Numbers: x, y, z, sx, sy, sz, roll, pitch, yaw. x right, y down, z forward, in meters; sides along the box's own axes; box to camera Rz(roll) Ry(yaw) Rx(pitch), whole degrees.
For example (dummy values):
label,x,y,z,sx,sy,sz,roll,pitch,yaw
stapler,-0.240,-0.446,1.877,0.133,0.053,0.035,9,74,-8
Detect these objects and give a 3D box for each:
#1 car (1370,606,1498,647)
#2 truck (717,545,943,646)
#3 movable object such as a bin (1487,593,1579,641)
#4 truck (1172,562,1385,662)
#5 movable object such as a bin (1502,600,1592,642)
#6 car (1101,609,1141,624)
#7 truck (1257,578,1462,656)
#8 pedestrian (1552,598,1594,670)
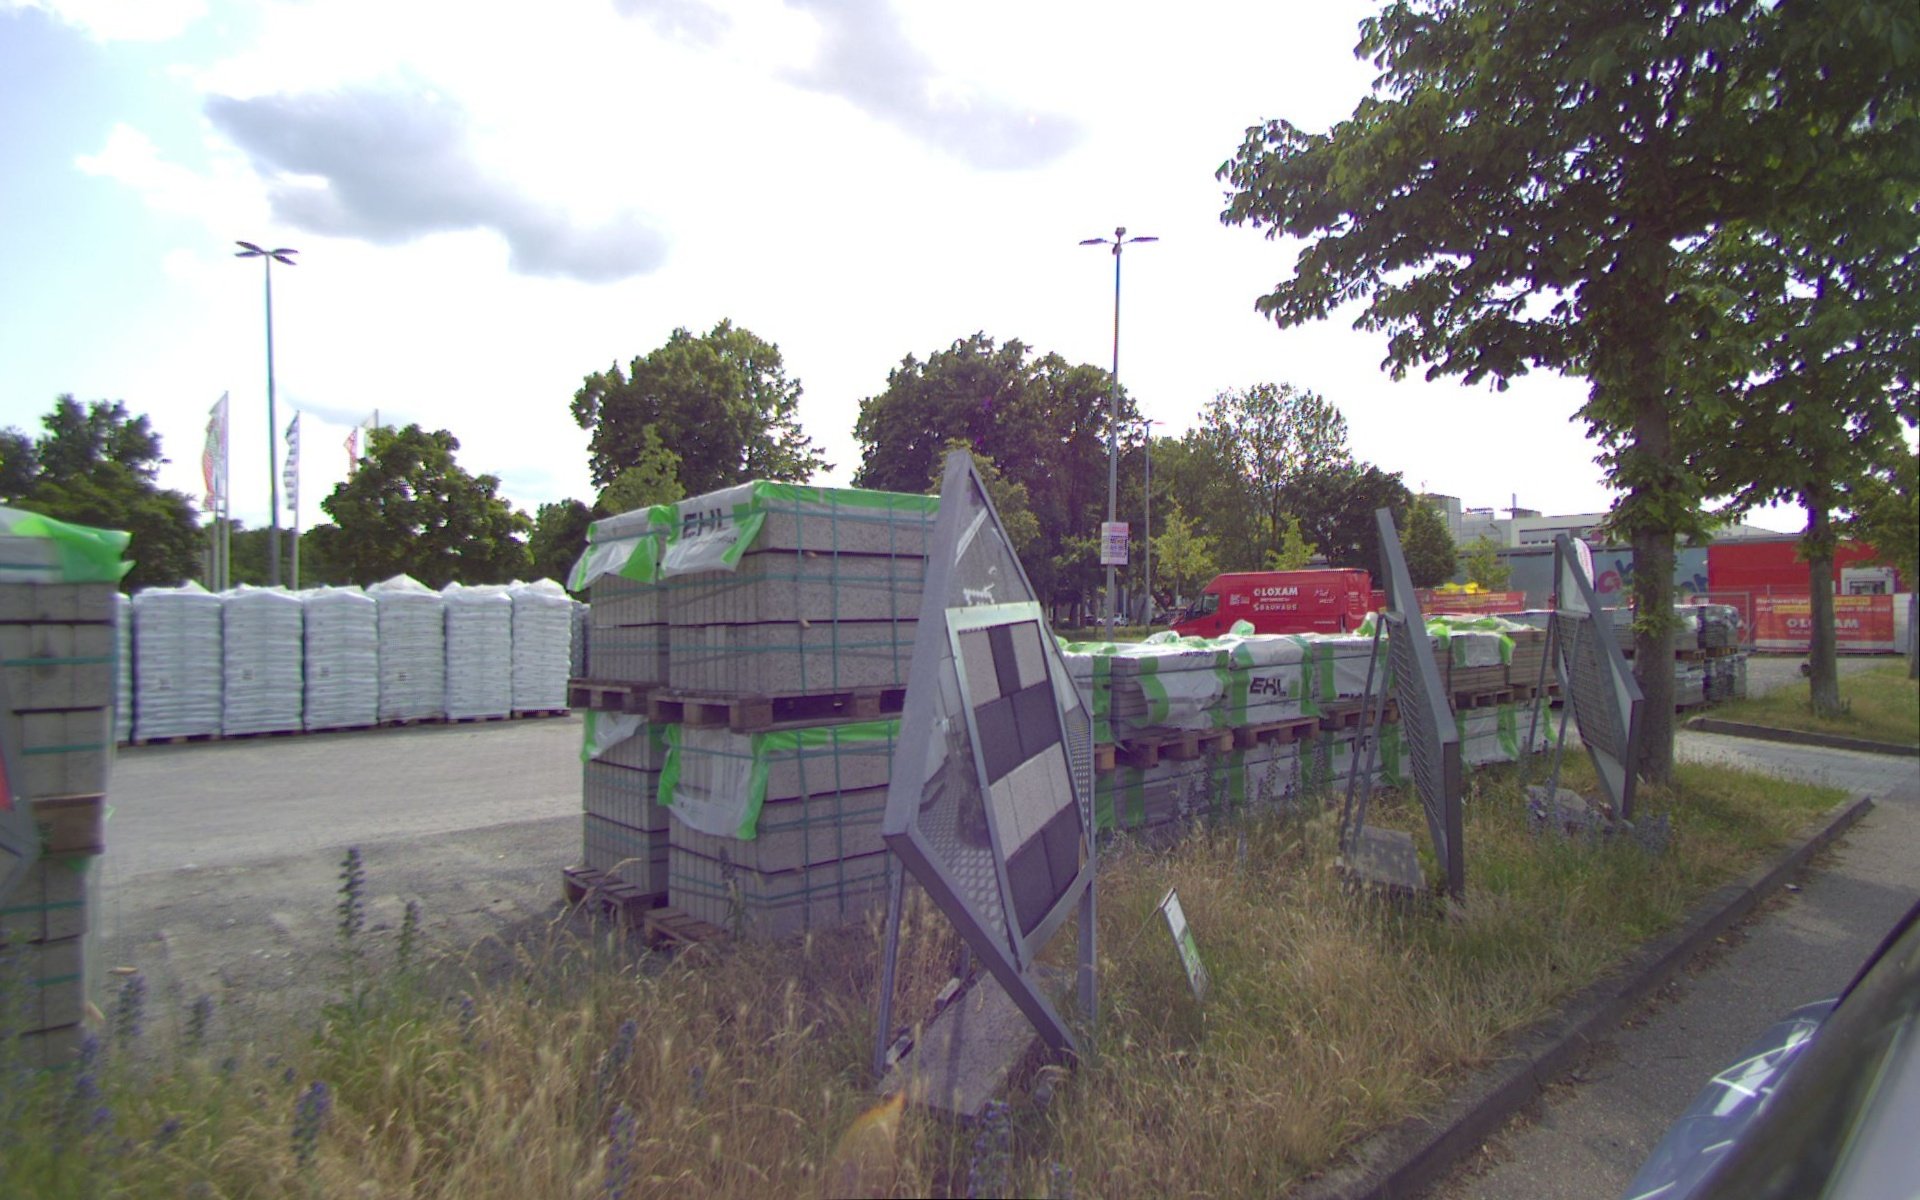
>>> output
label,x,y,z,sx,sy,sz,roll,pitch,yaw
car,17.917,0.952,38.369,4.133,1.432,1.592,0,0,45
truck,-5.010,-0.135,40.511,8.873,3.644,2.727,1,-1,-39
movable object such as a bin,23.258,0.680,41.144,1.364,1.868,3.008,3,-2,-40
truck,8.824,0.333,28.502,2.081,2.547,5.432,1,-1,-43
movable object such as a bin,24.660,0.855,42.554,1.364,1.691,3.008,1,-1,-40
car,17.561,1.806,110.602,1.967,1.603,3.989,1,-1,-44
truck,12.805,0.514,32.796,2.136,2.284,5.850,1,-1,-43
pedestrian,14.952,0.815,24.686,0.863,1.713,0.600,0,0,-39
